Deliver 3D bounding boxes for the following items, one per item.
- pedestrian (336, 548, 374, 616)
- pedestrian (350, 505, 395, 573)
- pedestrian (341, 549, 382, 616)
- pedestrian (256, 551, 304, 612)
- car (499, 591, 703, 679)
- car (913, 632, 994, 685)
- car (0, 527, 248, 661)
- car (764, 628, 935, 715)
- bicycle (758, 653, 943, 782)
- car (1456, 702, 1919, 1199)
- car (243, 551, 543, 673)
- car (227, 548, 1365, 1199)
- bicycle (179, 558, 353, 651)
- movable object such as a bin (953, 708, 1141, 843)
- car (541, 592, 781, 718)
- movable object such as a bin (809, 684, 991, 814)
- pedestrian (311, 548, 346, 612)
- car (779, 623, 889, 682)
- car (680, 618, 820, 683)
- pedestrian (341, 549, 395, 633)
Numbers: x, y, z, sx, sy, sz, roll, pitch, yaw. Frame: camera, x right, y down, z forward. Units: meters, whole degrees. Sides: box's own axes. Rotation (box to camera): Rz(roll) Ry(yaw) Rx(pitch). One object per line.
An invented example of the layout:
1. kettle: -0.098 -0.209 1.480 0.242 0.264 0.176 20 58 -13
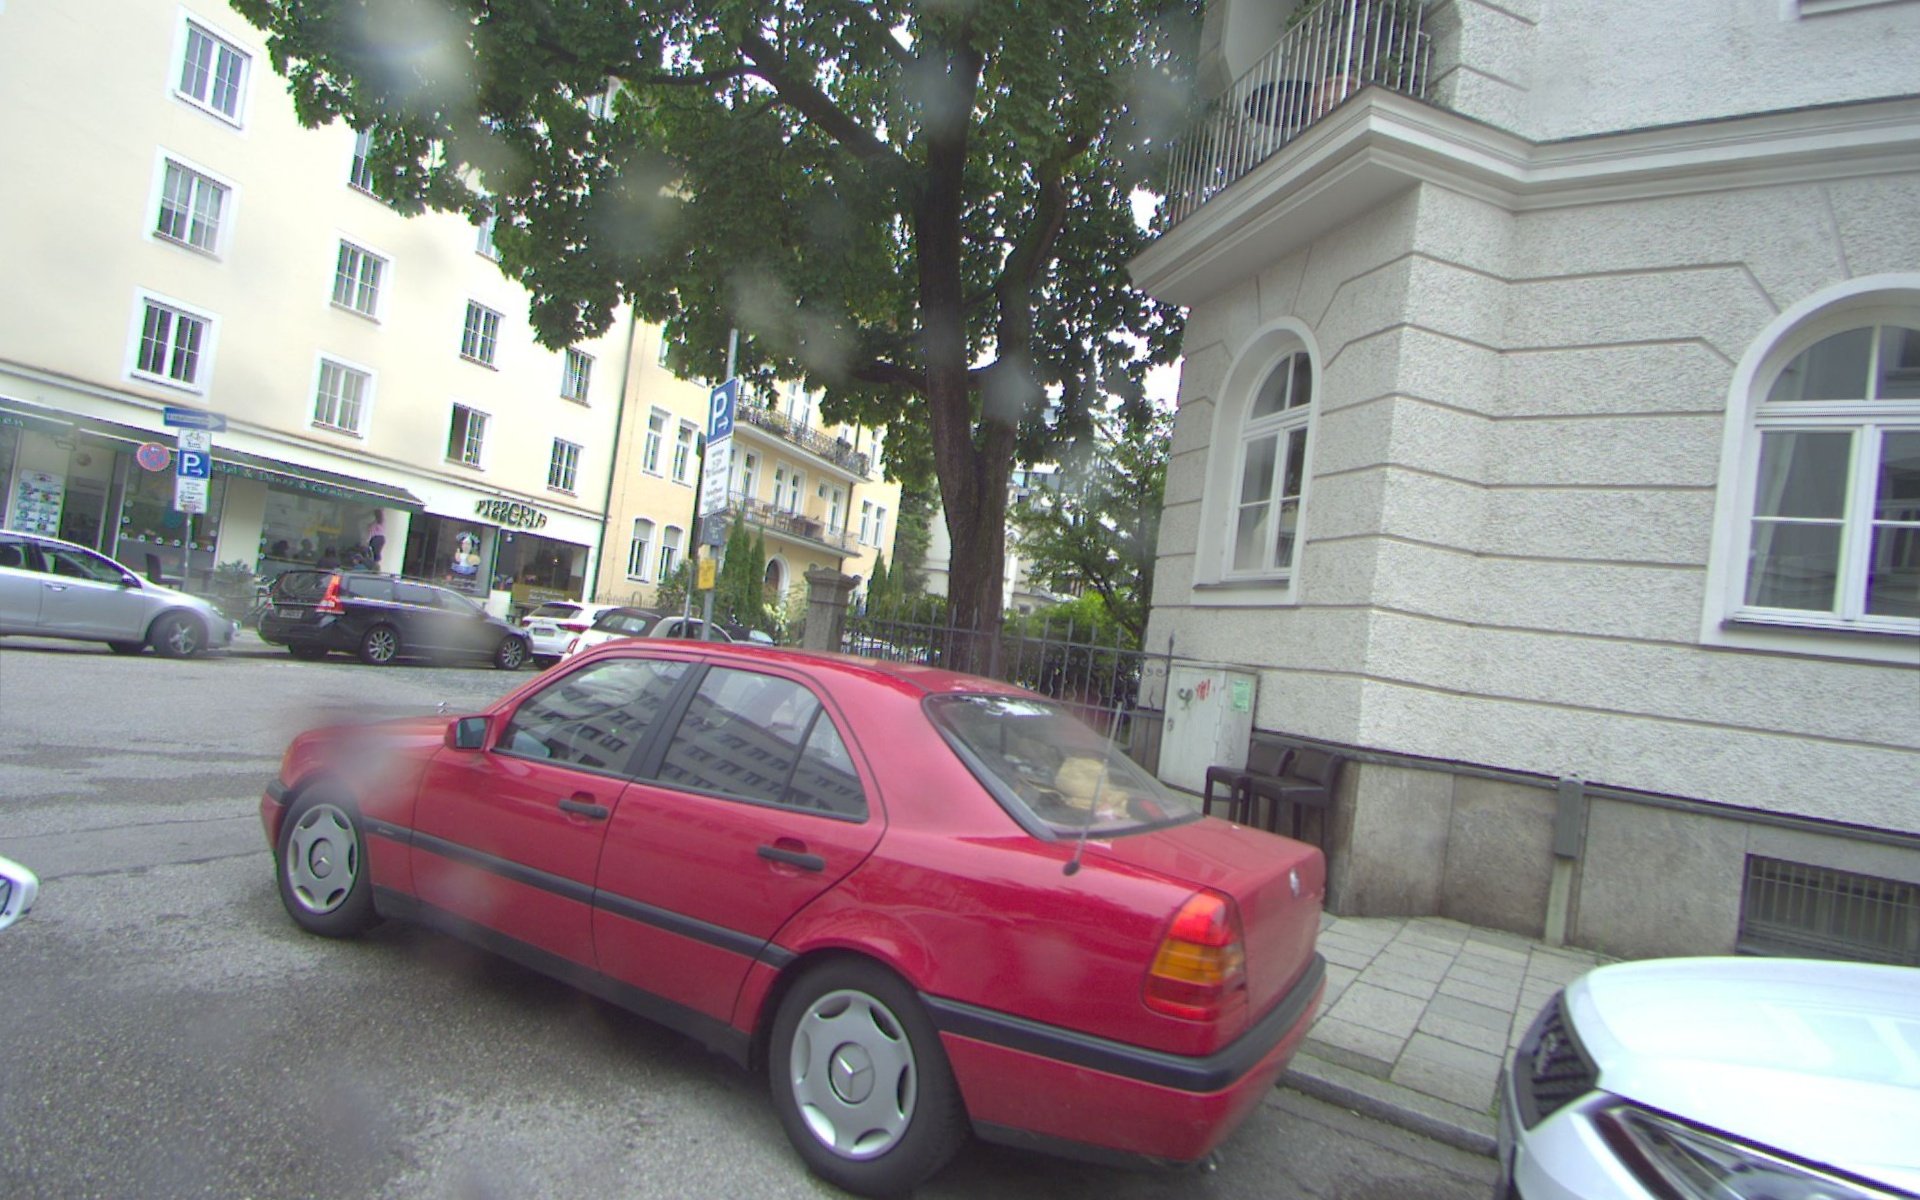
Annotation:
1. pedestrian: -14.573 -0.433 24.231 0.552 1.555 0.431 9 -1 -28
2. pedestrian: -14.931 -1.543 25.566 0.567 1.591 0.555 7 -3 21
3. pedestrian: -14.769 -0.438 24.828 0.525 1.569 0.435 7 -1 3
4. pedestrian: -15.733 -0.410 23.279 0.572 1.312 0.514 7 -1 0
5. car: -7.797 0.847 22.355 1.787 1.519 4.355 4 -4 20
6. car: -0.206 2.413 40.739 1.782 1.791 4.004 7 -3 20
7. car: -11.964 -0.103 13.038 1.792 1.430 3.996 2 -5 32
8. car: -2.130 1.509 20.742 1.675 1.422 4.204 6 -3 20
9. bicycle: -1.092 1.123 9.892 1.773 1.051 0.482 3 -3 29
10. car: 2.958 1.199 1.504 3.841 1.512 1.756 6 -3 27
11. car: -9.704 0.314 17.674 1.787 1.609 4.355 5 -4 20
12. car: -0.813 0.800 3.939 4.142 1.451 1.674 7 -3 30
13. bicycle: -11.904 0.113 17.353 1.086 1.267 2.092 8 -3 22
14. movable object such as a bin: 0.726 1.401 8.287 1.198 0.853 0.903 6 -2 28
15. car: -4.431 0.896 15.391 1.598 1.504 3.334 8 -2 23
16. movable object such as a bin: -0.507 1.261 8.732 1.198 0.875 0.903 6 -2 28
17. pedestrian: -15.166 -0.472 24.167 0.507 1.450 0.579 8 -2 -28
18. car: -4.015 1.747 32.765 1.721 1.656 4.002 4 -3 22
19. car: -5.592 1.417 27.294 1.778 1.465 4.005 3 -4 20
20. pedestrian: -13.032 -0.193 22.165 0.533 1.722 0.604 9 -1 22
